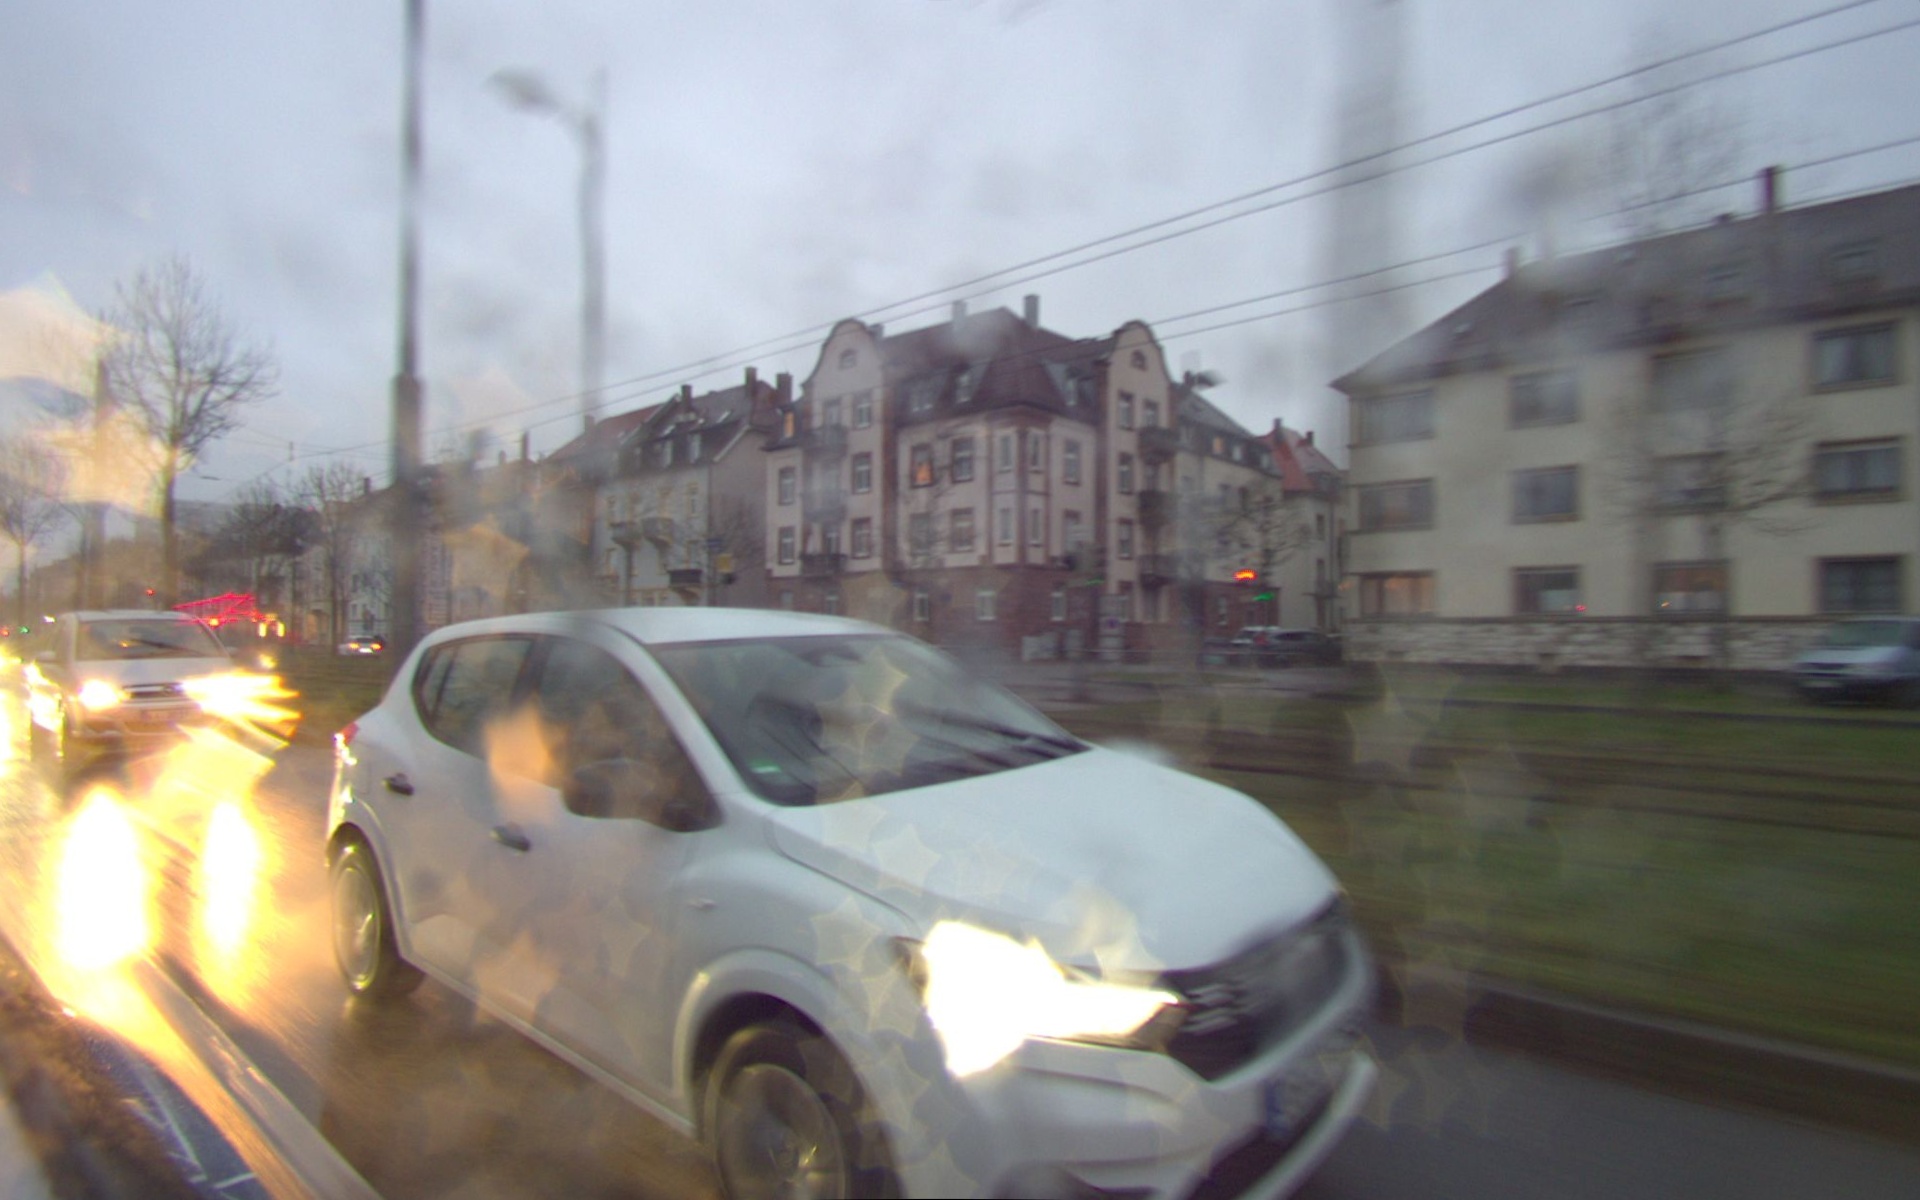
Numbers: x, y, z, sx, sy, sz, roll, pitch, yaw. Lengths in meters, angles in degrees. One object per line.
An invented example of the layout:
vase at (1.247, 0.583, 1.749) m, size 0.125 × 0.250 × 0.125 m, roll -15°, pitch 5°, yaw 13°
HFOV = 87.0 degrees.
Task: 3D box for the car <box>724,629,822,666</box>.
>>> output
car at (-7.958, 1.996, 43.090) m, size 3.978 × 1.239 × 1.352 m, roll -3°, pitch 2°, yaw -12°

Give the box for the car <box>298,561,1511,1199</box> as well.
car at (-0.597, 0.722, 3.371) m, size 3.999 × 1.485 × 1.671 m, roll -2°, pitch -1°, yaw 41°

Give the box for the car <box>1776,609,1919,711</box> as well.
car at (18.588, 1.089, 19.684) m, size 4.580 × 1.736 × 1.838 m, roll -1°, pitch 0°, yaw -15°

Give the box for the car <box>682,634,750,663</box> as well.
car at (-10.874, 2.145, 45.141) m, size 2.870 × 0.997 × 1.800 m, roll -3°, pitch 2°, yaw -14°

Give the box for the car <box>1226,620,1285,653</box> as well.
car at (16.929, 2.065, 57.921) m, size 1.803 × 1.721 × 3.656 m, roll -2°, pitch -1°, yaw 42°

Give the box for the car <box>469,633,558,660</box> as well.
car at (-26.652, 2.771, 60.514) m, size 4.586 × 1.443 × 1.698 m, roll -1°, pitch -1°, yaw -12°

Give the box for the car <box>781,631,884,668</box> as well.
car at (-5.211, 1.990, 41.209) m, size 4.039 × 1.169 × 1.716 m, roll -3°, pitch 2°, yaw -10°

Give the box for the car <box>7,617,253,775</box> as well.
car at (-9.866, 1.005, 11.931) m, size 3.905 × 1.531 × 1.617 m, roll -2°, pitch -1°, yaw 41°

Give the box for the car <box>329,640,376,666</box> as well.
car at (-38.514, 3.312, 64.135) m, size 3.782 × 1.516 × 1.529 m, roll -2°, pitch -1°, yaw 42°

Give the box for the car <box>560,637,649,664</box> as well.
car at (-18.980, 2.668, 54.208) m, size 4.198 × 1.267 × 1.836 m, roll -1°, pitch 0°, yaw -8°
